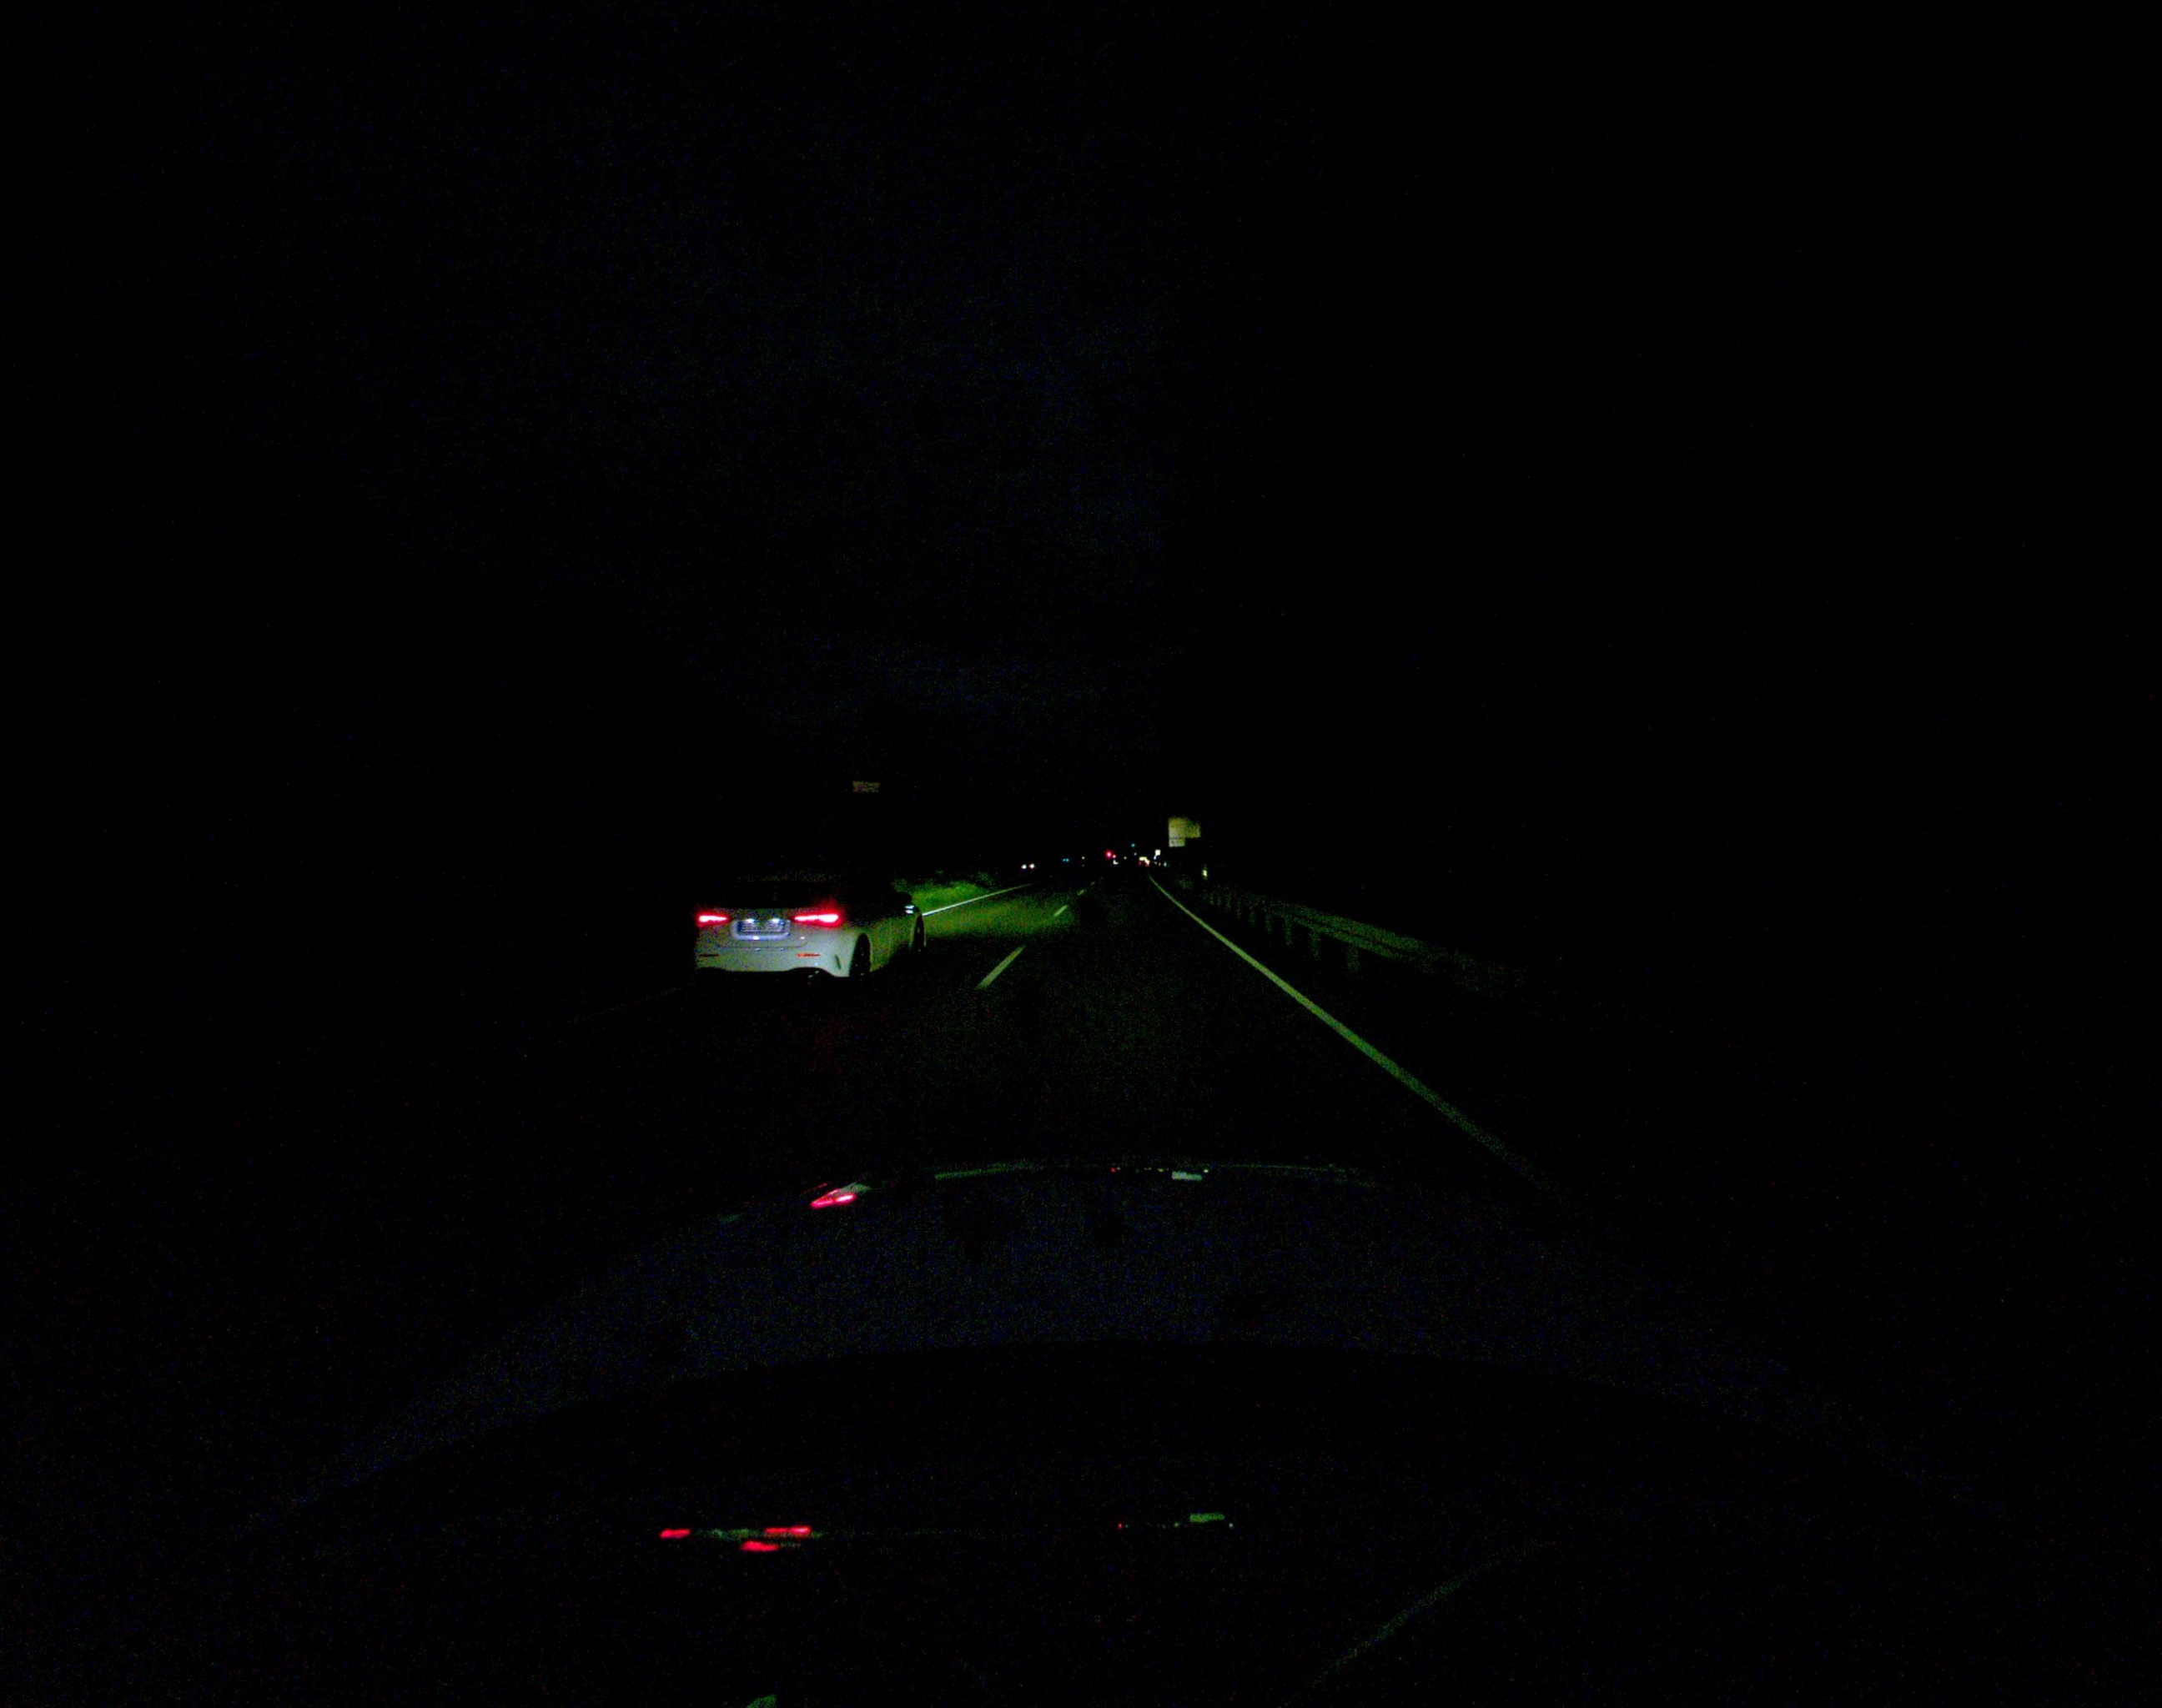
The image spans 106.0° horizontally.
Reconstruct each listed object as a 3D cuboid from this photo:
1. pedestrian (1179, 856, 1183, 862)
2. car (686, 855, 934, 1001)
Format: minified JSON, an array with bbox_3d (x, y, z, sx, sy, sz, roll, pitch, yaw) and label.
[{"bbox_3d":[27.161,1.294,221.922,1.086,1.723,1.262,0,-1,4],"label":"pedestrian"},{"bbox_3d":[-3.214,0.774,10.686,1.636,1.490,4.580,0,0,1],"label":"car"}]
